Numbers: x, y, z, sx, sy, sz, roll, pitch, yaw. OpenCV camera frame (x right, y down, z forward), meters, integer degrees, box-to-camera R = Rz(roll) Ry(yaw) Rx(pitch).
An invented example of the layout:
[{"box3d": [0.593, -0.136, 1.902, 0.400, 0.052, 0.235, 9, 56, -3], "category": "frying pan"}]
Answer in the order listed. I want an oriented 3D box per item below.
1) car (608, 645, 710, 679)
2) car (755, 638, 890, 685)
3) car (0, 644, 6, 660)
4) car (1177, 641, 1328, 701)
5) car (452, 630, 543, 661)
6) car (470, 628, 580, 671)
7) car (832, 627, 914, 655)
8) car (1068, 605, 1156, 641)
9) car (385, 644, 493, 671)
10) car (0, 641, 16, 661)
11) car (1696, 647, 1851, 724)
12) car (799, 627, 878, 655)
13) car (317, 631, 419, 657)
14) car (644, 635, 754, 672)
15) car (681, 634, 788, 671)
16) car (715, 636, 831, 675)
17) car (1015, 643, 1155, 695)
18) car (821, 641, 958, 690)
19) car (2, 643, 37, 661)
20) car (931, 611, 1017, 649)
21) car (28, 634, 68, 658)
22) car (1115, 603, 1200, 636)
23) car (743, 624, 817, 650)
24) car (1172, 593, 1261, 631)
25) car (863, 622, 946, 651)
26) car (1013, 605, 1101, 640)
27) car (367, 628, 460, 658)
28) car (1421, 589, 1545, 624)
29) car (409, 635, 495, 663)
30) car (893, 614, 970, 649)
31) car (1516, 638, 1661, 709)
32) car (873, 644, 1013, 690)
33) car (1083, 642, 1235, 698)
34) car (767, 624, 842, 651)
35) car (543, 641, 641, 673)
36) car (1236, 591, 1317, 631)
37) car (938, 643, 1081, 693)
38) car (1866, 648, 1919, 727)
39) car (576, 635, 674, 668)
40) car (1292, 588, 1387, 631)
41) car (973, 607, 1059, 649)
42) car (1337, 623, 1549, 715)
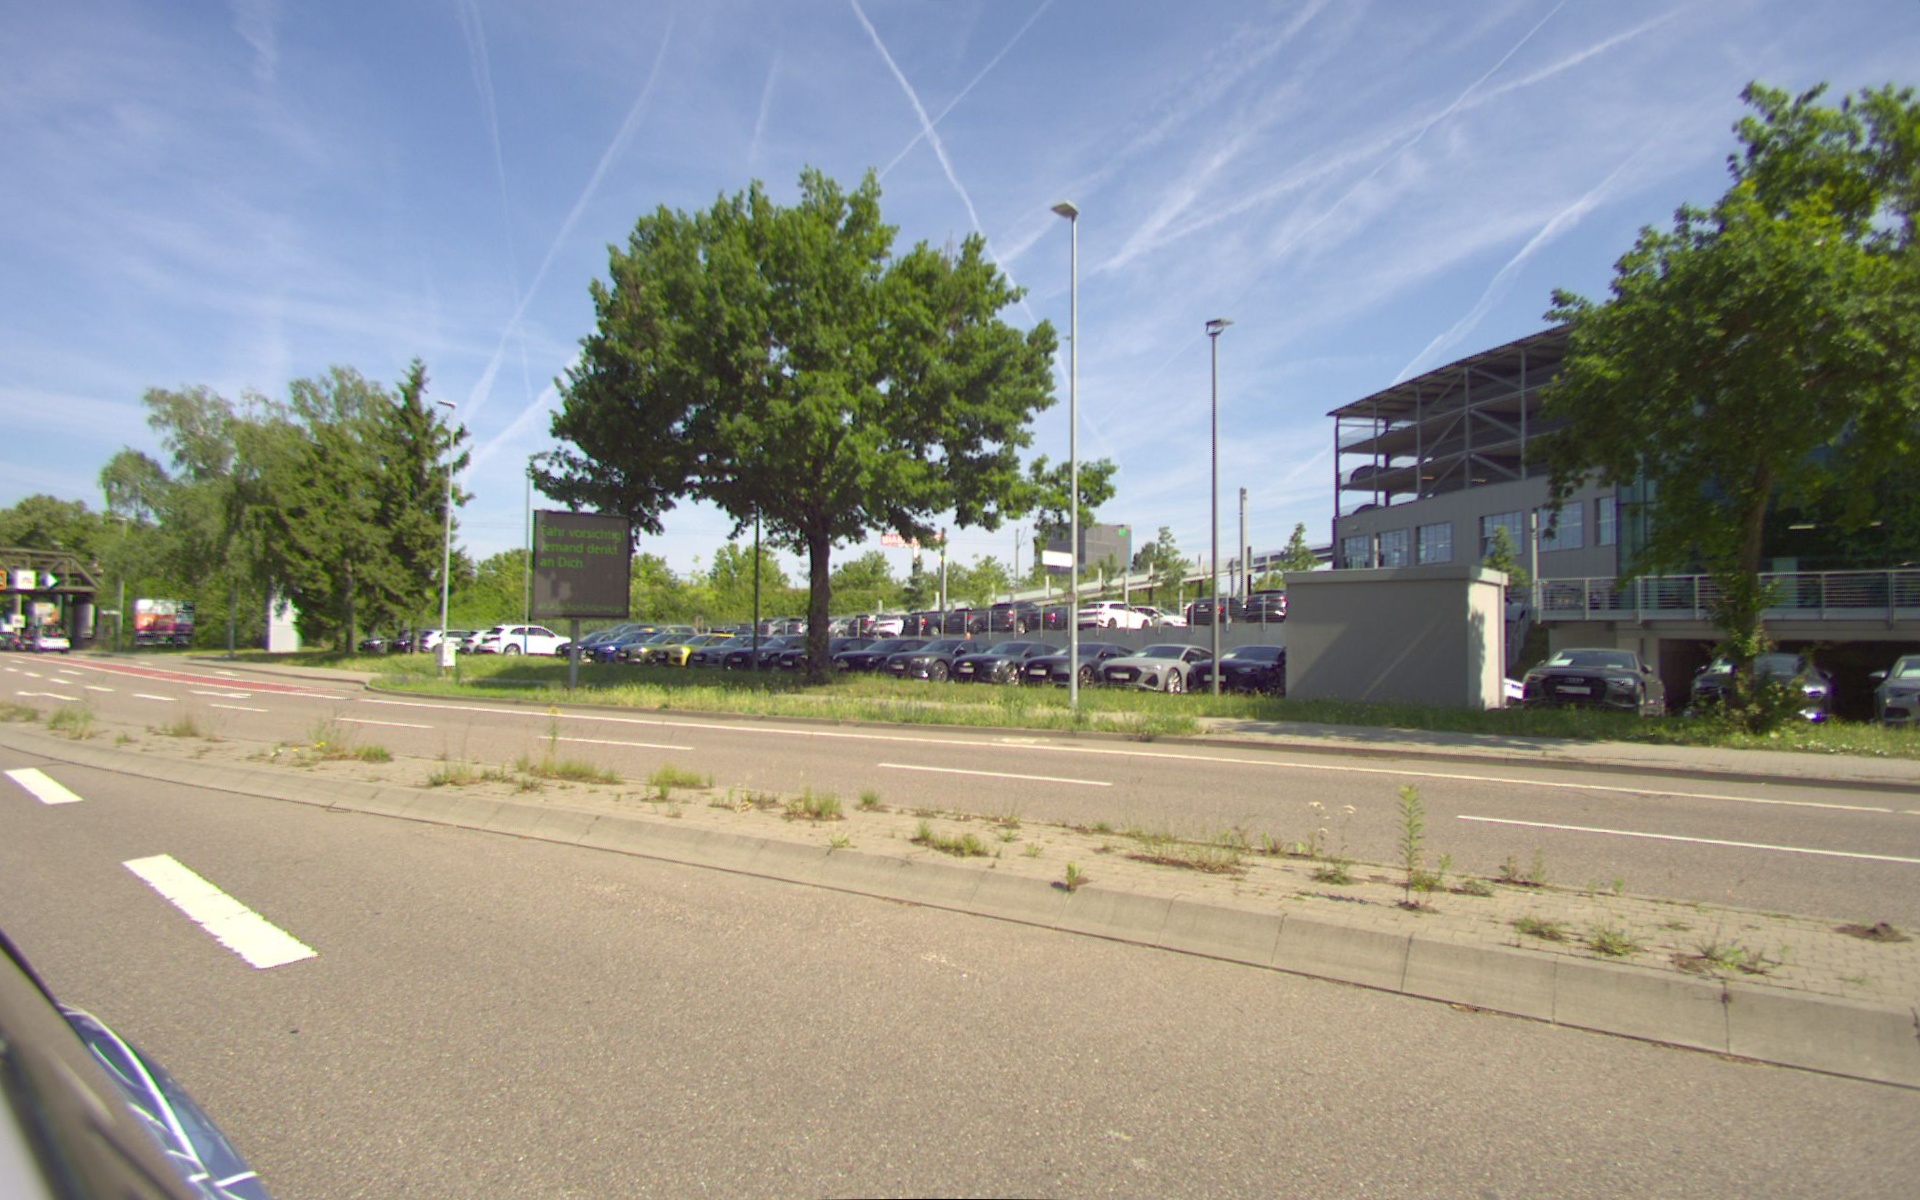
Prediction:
[{"box3d": [-12.259, 2.531, 41.394, 1.661, 1.295, 3.705, -2, -5, 39], "category": "car"}, {"box3d": [-4.667, 2.086, 34.854, 1.978, 1.487, 4.455, -2, -3, 39], "category": "car"}, {"box3d": [-88.256, 4.725, 92.141, 4.316, 1.398, 1.618, -2, -4, 41], "category": "car"}, {"box3d": [7.089, 1.646, 24.260, 1.917, 1.300, 4.455, -2, -3, 39], "category": "car"}, {"box3d": [-24.086, 2.366, 52.804, 1.848, 1.497, 3.942, -2, -2, 44], "category": "car"}, {"box3d": [-20.634, 2.327, 48.169, 2.000, 1.889, 4.415, -2, -2, 42], "category": "car"}, {"box3d": [-4.771, 2.290, 55.922, 1.978, 1.496, 4.455, -2, -3, 39], "category": "car"}, {"box3d": [6.931, 1.062, 45.771, 1.978, 1.496, 4.455, -2, -3, 39], "category": "car"}, {"box3d": [-28.010, 3.055, 54.566, 1.999, 1.278, 4.801, -2, -2, 41], "category": "car"}, {"box3d": [-94.391, 4.926, 99.210, 5.447, 1.875, 1.973, -2, -5, 41], "category": "car"}, {"box3d": [14.096, 1.512, 17.597, 1.895, 1.165, 3.947, -2, -7, 39], "category": "car"}, {"box3d": [-6.855, 2.305, 57.539, 1.889, 1.429, 4.455, -2, -2, 39], "category": "car"}, {"box3d": [-33.540, 2.468, 57.468, 1.999, 1.400, 4.638, -2, -2, 41], "category": "car"}, {"box3d": [-10.230, 2.123, 39.866, 1.838, 1.351, 3.848, -2, -5, 39], "category": "car"}, {"box3d": [-8.458, 1.997, 38.142, 1.863, 1.295, 3.558, -2, -5, 39], "category": "car"}, {"box3d": [-6.652, 2.007, 36.269, 1.983, 1.295, 3.643, -2, -5, 39], "category": "car"}, {"box3d": [3.486, 1.827, 27.568, 1.690, 1.300, 4.455, -2, -3, 39], "category": "car"}, {"box3d": [-2.207, 2.081, 32.773, 1.917, 1.487, 4.455, -2, -3, 39], "category": "car"}, {"box3d": [-80.747, 4.449, 86.848, 4.025, 1.530, 1.680, -2, -5, 41], "category": "car"}, {"box3d": [0.760, 1.539, 50.847, 1.978, 1.829, 4.455, -2, -3, 39], "category": "car"}, {"box3d": [-67.360, 3.394, 74.729, 1.970, 1.630, 4.106, 5, -5, -45], "category": "car"}, {"box3d": [9.954, 0.985, 51.176, 3.786, 1.586, 1.931, -2, -2, 41], "category": "car"}, {"box3d": [-10.846, 2.208, 61.109, 1.997, 1.488, 4.162, -2, -2, 38], "category": "car"}, {"box3d": [10.679, 0.518, 42.007, 2.050, 1.507, 3.946, -2, -2, 41], "category": "car"}, {"box3d": [-2.941, 1.984, 54.480, 1.978, 1.496, 4.455, -2, -3, 39], "category": "car"}, {"box3d": [4.617, 1.096, 47.635, 1.978, 1.563, 4.455, -2, -3, 39], "category": "car"}, {"box3d": [-30.776, 2.403, 57.086, 1.999, 1.558, 4.170, -2, -2, 41], "category": "car"}, {"box3d": [23.050, 0.310, 44.697, 4.589, 1.475, 1.928, 0, -1, -10], "category": "car"}, {"box3d": [-26.666, 2.539, 53.232, 1.815, 1.381, 3.642, -2, -2, 41], "category": "car"}, {"box3d": [-1.439, 1.660, 52.691, 1.663, 1.718, 4.226, -2, -3, 39], "category": "car"}, {"box3d": [12.120, 1.439, 19.415, 1.895, 1.165, 3.947, -2, -7, 39], "category": "car"}, {"box3d": [-0.436, 2.023, 31.228, 1.917, 1.300, 4.455, -2, -3, 39], "category": "car"}, {"box3d": [5.169, 1.737, 25.905, 2.002, 1.300, 4.455, -2, -3, 39], "category": "car"}, {"box3d": [-9.027, 2.142, 58.979, 1.997, 1.488, 4.162, -2, -2, 38], "category": "car"}, {"box3d": [-16.264, 2.490, 44.823, 1.743, 1.295, 3.754, -2, -2, 39], "category": "car"}, {"box3d": [12.646, 0.454, 40.321, 1.667, 1.507, 3.946, -2, -2, 40], "category": "car"}, {"box3d": [1.510, 1.925, 29.351, 1.917, 1.300, 4.455, -2, -3, 39], "category": "car"}, {"box3d": [15.986, 1.462, 16.110, 2.085, 1.165, 4.132, -2, -7, 39], "category": "car"}, {"box3d": [-14.193, 2.203, 43.033, 1.743, 1.295, 3.558, -2, -5, 39], "category": "car"}, {"box3d": [14.484, 0.385, 38.514, 1.985, 1.507, 4.473, -2, -2, 40], "category": "car"}, {"box3d": [2.754, 1.400, 49.101, 1.978, 1.977, 4.455, -2, -3, 39], "category": "car"}, {"box3d": [10.963, 1.520, 23.103, 3.998, 1.891, 1.973, -2, -3, 41], "category": "car"}]
